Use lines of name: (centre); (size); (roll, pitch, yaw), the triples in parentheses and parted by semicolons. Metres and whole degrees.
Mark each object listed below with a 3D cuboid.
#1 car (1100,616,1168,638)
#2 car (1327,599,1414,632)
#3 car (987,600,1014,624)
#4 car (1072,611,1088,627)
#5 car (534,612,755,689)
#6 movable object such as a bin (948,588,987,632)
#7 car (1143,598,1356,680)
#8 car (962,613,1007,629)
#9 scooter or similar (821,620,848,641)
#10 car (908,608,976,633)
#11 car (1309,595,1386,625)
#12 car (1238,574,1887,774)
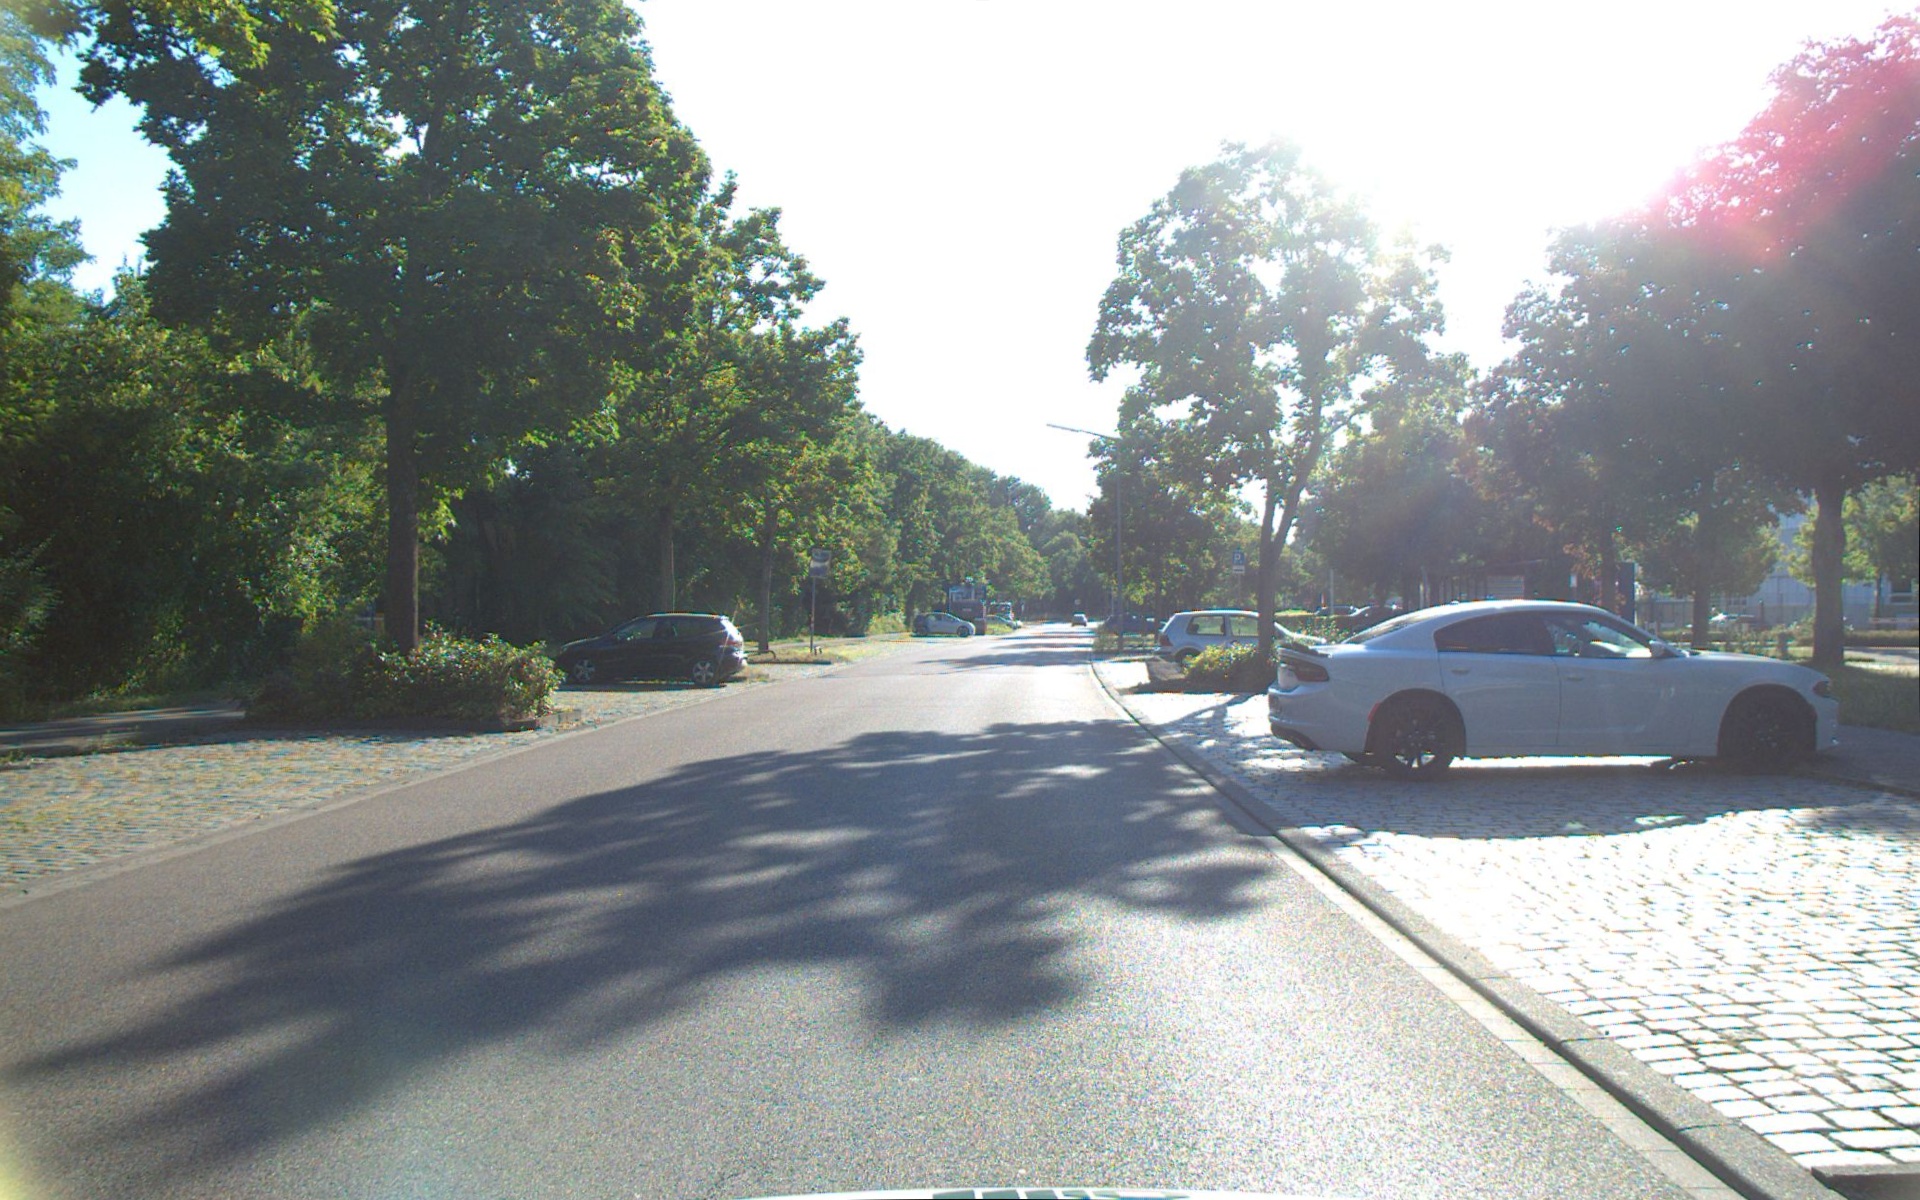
car: (12.324, 1.890, 117.189); (4.739, 1.505, 2.001); (-1, 0, 5)
car: (22.670, 0.869, 91.374); (4.336, 1.735, 2.060); (-1, -1, 3)
car: (4.150, 1.283, 171.122); (2.466, 2.428, 4.371); (-1, 0, -2)
car: (14.874, 2.344, 204.986); (1.952, 1.937, 4.001); (-1, -1, 3)
car: (-6.707, 1.062, 35.495); (4.268, 1.505, 2.000); (1, 0, 2)
movable object such as a bin: (0.555, 0.771, 121.496); (2.780, 3.122, 4.927); (-1, -1, 0)
car: (6.136, 0.825, 35.063); (4.265, 1.505, 2.002); (-3, -1, 11)
car: (2.352, 2.009, 161.622); (4.270, 1.505, 1.999); (-1, 0, -2)
scooter or similar: (-7.156, 1.723, 94.494); (0.567, 1.165, 1.573); (-1, -1, 44)
car: (-1.179, 1.345, 108.882); (4.266, 1.574, 2.001); (-1, 0, 5)
car: (23.156, 0.597, 98.947); (4.266, 1.735, 2.001); (-1, 0, 6)
car: (5.252, 0.622, 14.971); (5.070, 1.601, 2.157); (-1, 0, -1)
